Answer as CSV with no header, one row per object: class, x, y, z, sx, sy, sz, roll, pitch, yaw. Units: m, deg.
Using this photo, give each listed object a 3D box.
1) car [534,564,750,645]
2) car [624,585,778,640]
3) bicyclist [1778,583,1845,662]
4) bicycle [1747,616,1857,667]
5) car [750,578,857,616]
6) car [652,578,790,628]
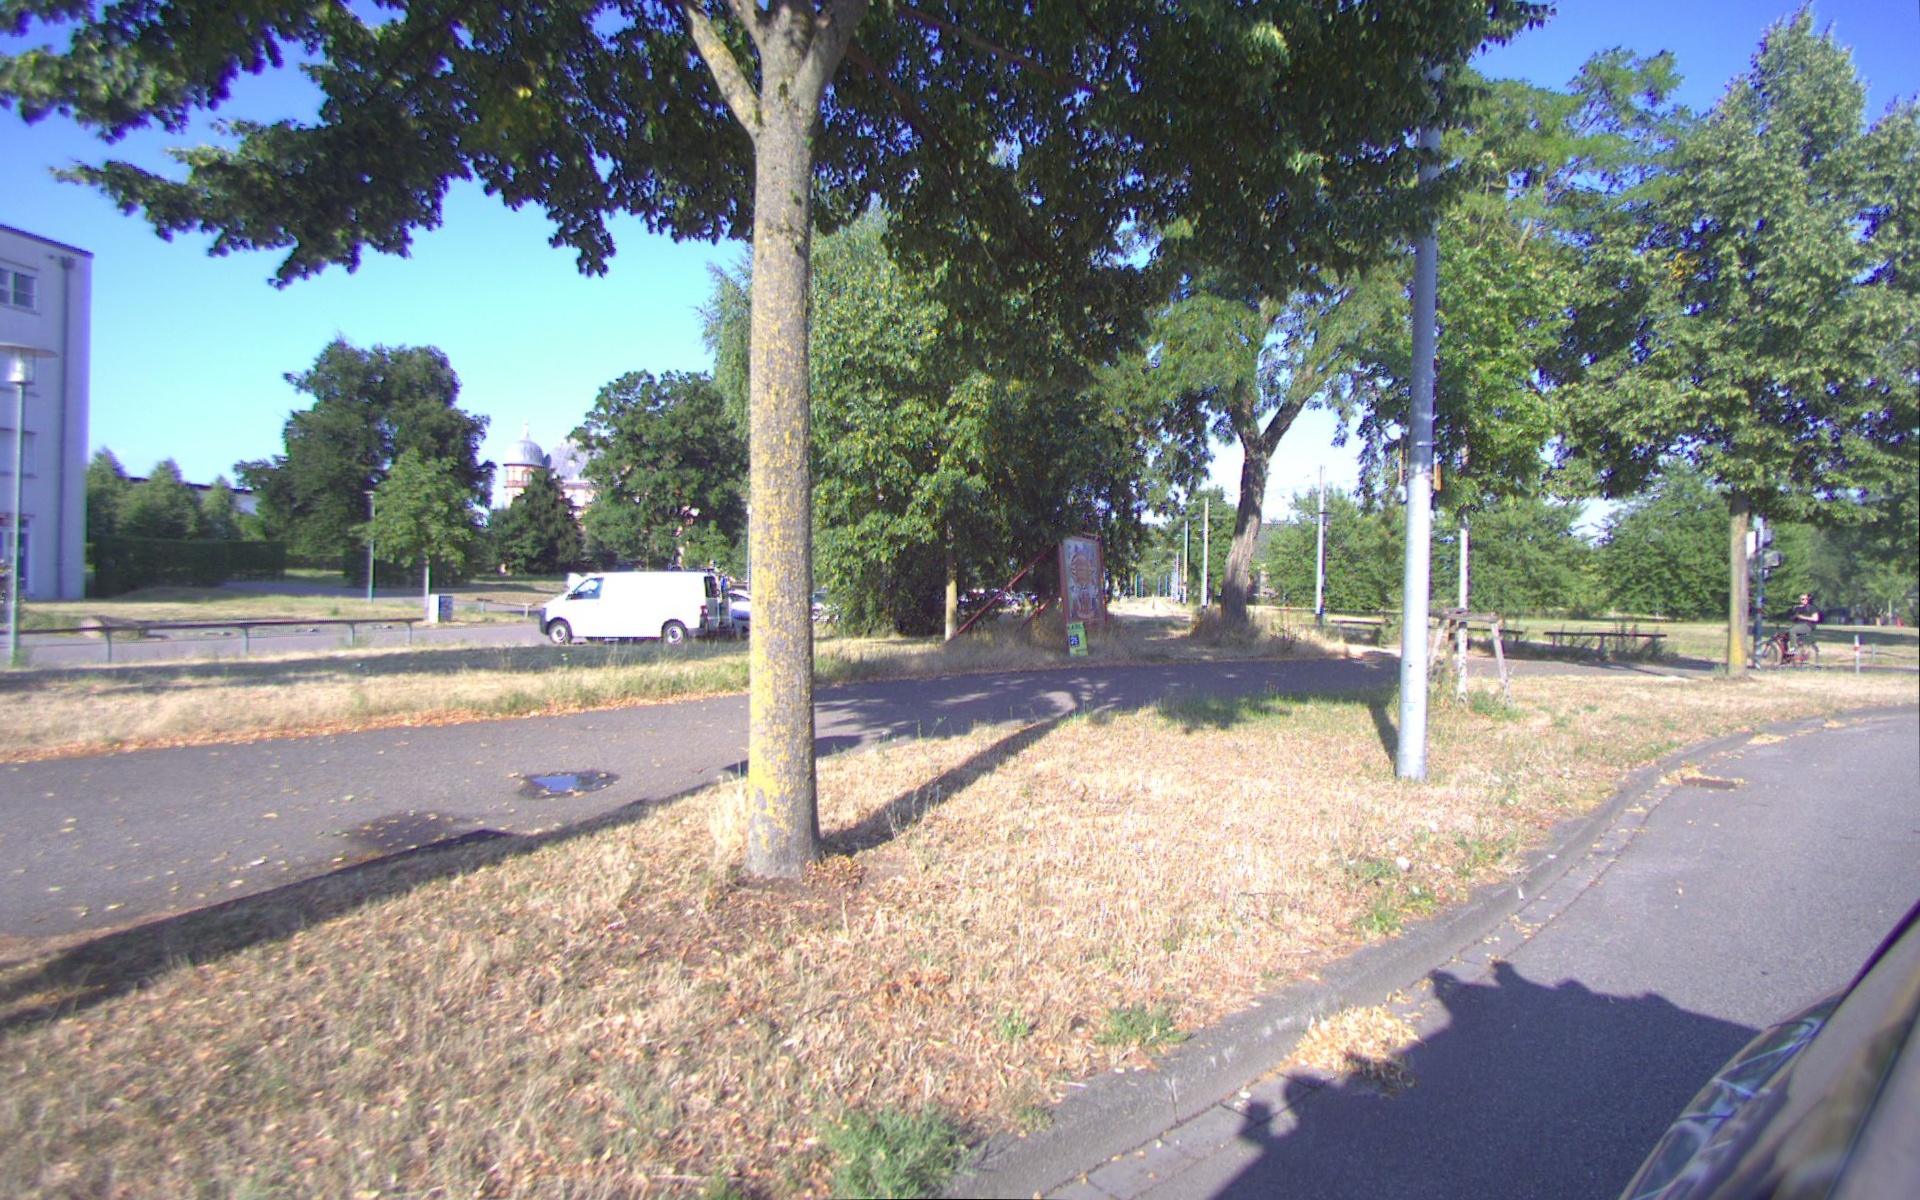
car,-8.494,0.082,27.201,5.139,2.039,2.261,1,1,13
car,-7.533,0.339,29.587,3.939,1.461,1.864,1,1,12
bicyclist,20.157,0.512,23.968,0.920,1.823,0.729,1,0,-3
bicycle,19.949,0.970,23.995,2.083,1.137,0.641,1,0,-3
car,-6.396,-0.148,41.552,3.940,1.415,1.848,2,1,13
car,-7.661,0.077,32.567,3.939,1.461,1.864,1,1,12
